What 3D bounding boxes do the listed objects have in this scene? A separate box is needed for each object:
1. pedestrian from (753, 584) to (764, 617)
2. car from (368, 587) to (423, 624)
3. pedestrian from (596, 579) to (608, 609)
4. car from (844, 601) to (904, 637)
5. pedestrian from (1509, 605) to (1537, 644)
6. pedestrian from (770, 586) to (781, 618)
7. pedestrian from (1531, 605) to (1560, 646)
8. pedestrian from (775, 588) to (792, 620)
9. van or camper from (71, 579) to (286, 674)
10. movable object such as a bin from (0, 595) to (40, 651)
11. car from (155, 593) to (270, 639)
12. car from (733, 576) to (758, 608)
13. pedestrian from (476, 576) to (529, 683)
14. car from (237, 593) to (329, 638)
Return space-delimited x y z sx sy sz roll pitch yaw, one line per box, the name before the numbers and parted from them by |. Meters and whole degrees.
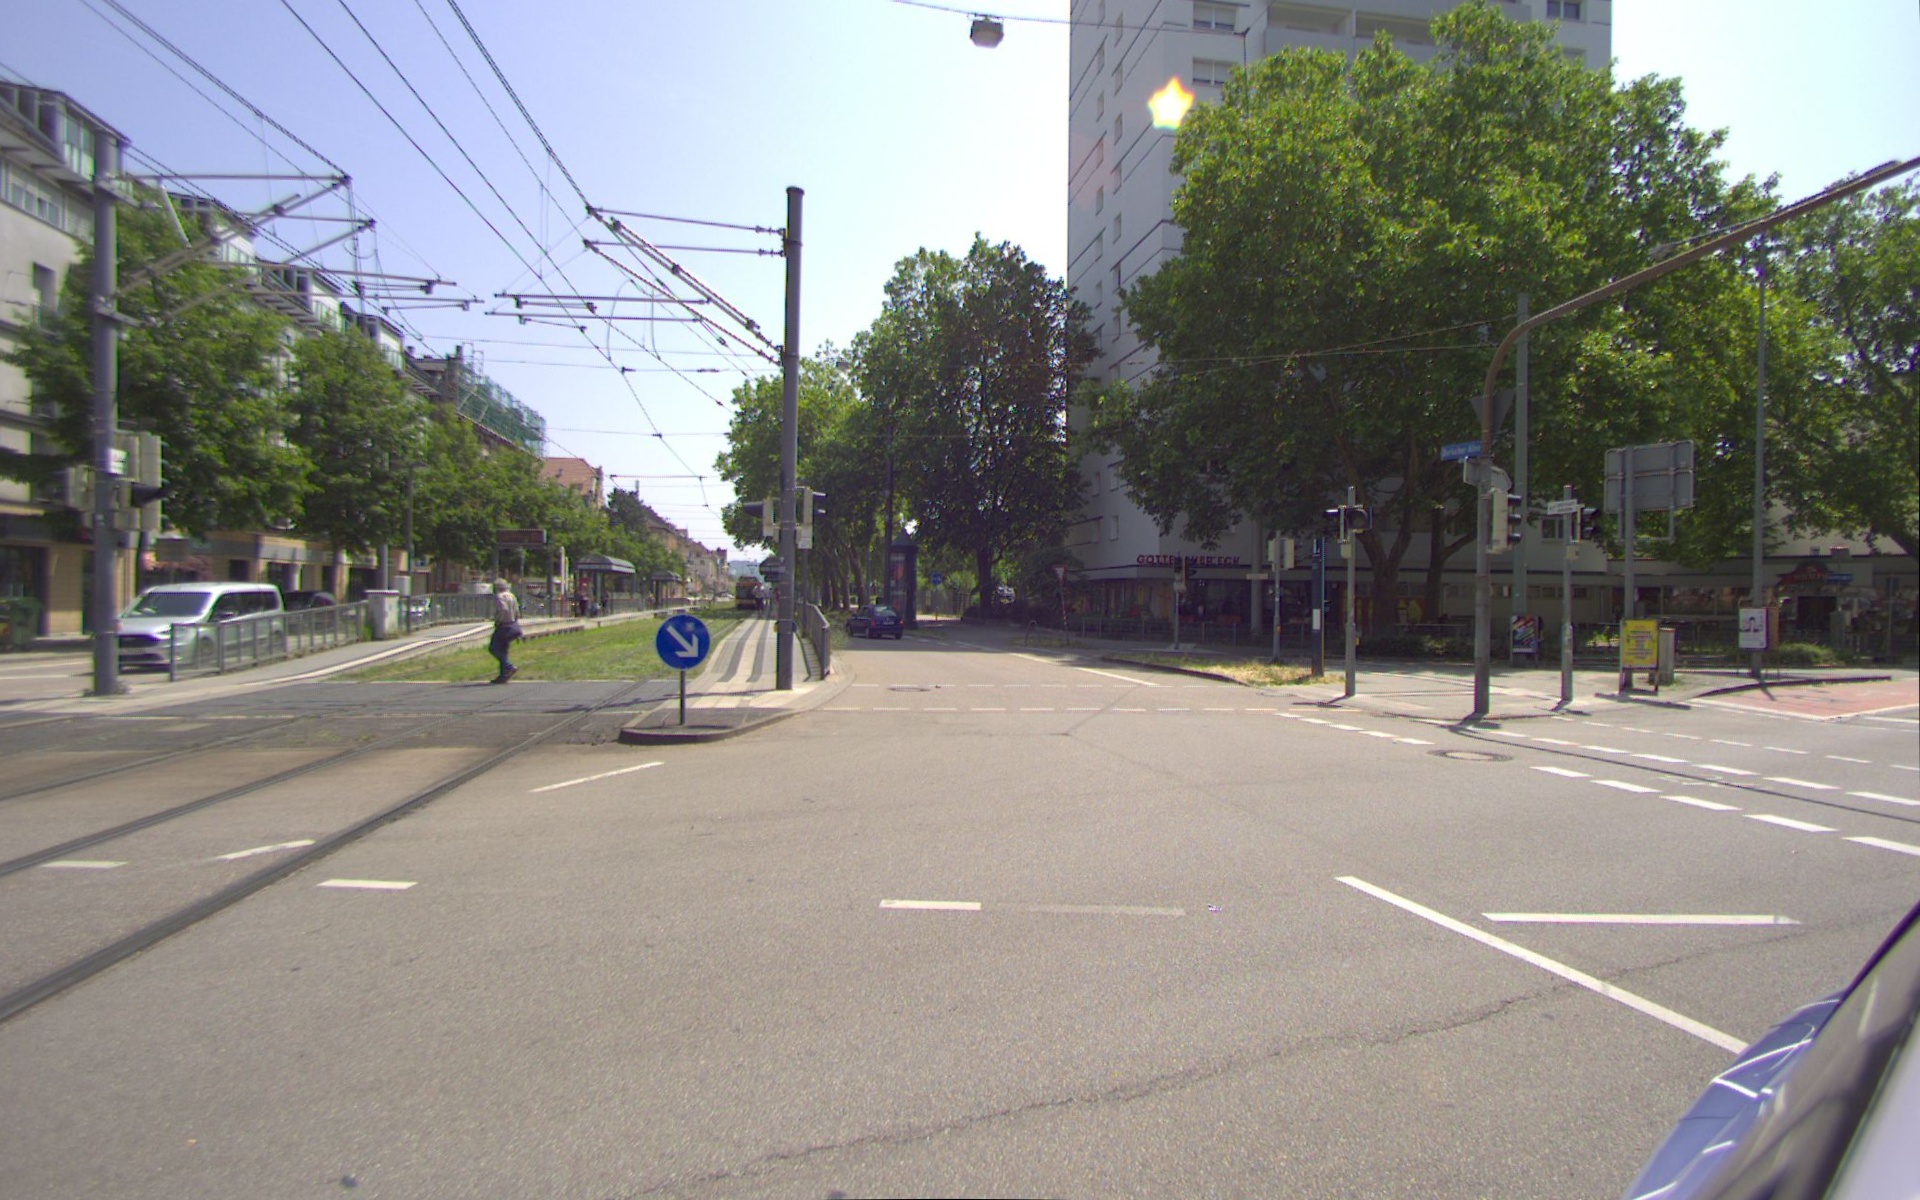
pedestrian | -9.937 0.010 49.833 0.542 1.626 0.681 0 0 -11
car | -31.768 0.274 57.044 1.958 2.039 4.008 0 0 -18
pedestrian | -19.488 -0.307 55.122 0.539 1.626 0.555 0 0 -11
car | -3.664 0.759 42.763 1.451 1.413 3.399 0 0 -25
pedestrian | 20.248 0.866 36.408 0.626 1.382 0.595 0 0 -16
pedestrian | -9.242 0.096 50.731 0.536 1.600 0.516 0 0 -11
pedestrian | 20.354 0.873 35.180 0.626 1.382 0.595 0 0 -16
pedestrian | -7.582 0.174 43.447 0.665 1.366 0.633 0 0 -11
van or camper | -16.273 0.479 21.410 1.731 1.780 4.602 -1 0 -11
movable object such as a bin | -25.059 0.591 26.454 1.189 1.454 1.010 0 0 -17
car | -27.055 0.531 36.797 1.958 1.551 4.008 0 0 -13
car | -23.601 -0.864 111.703 2.229 3.381 12.055 0 0 -10
pedestrian | -7.554 0.474 16.736 0.666 1.727 0.554 0 0 -8
car | -28.298 0.606 42.438 1.958 1.794 4.008 0 0 -13
